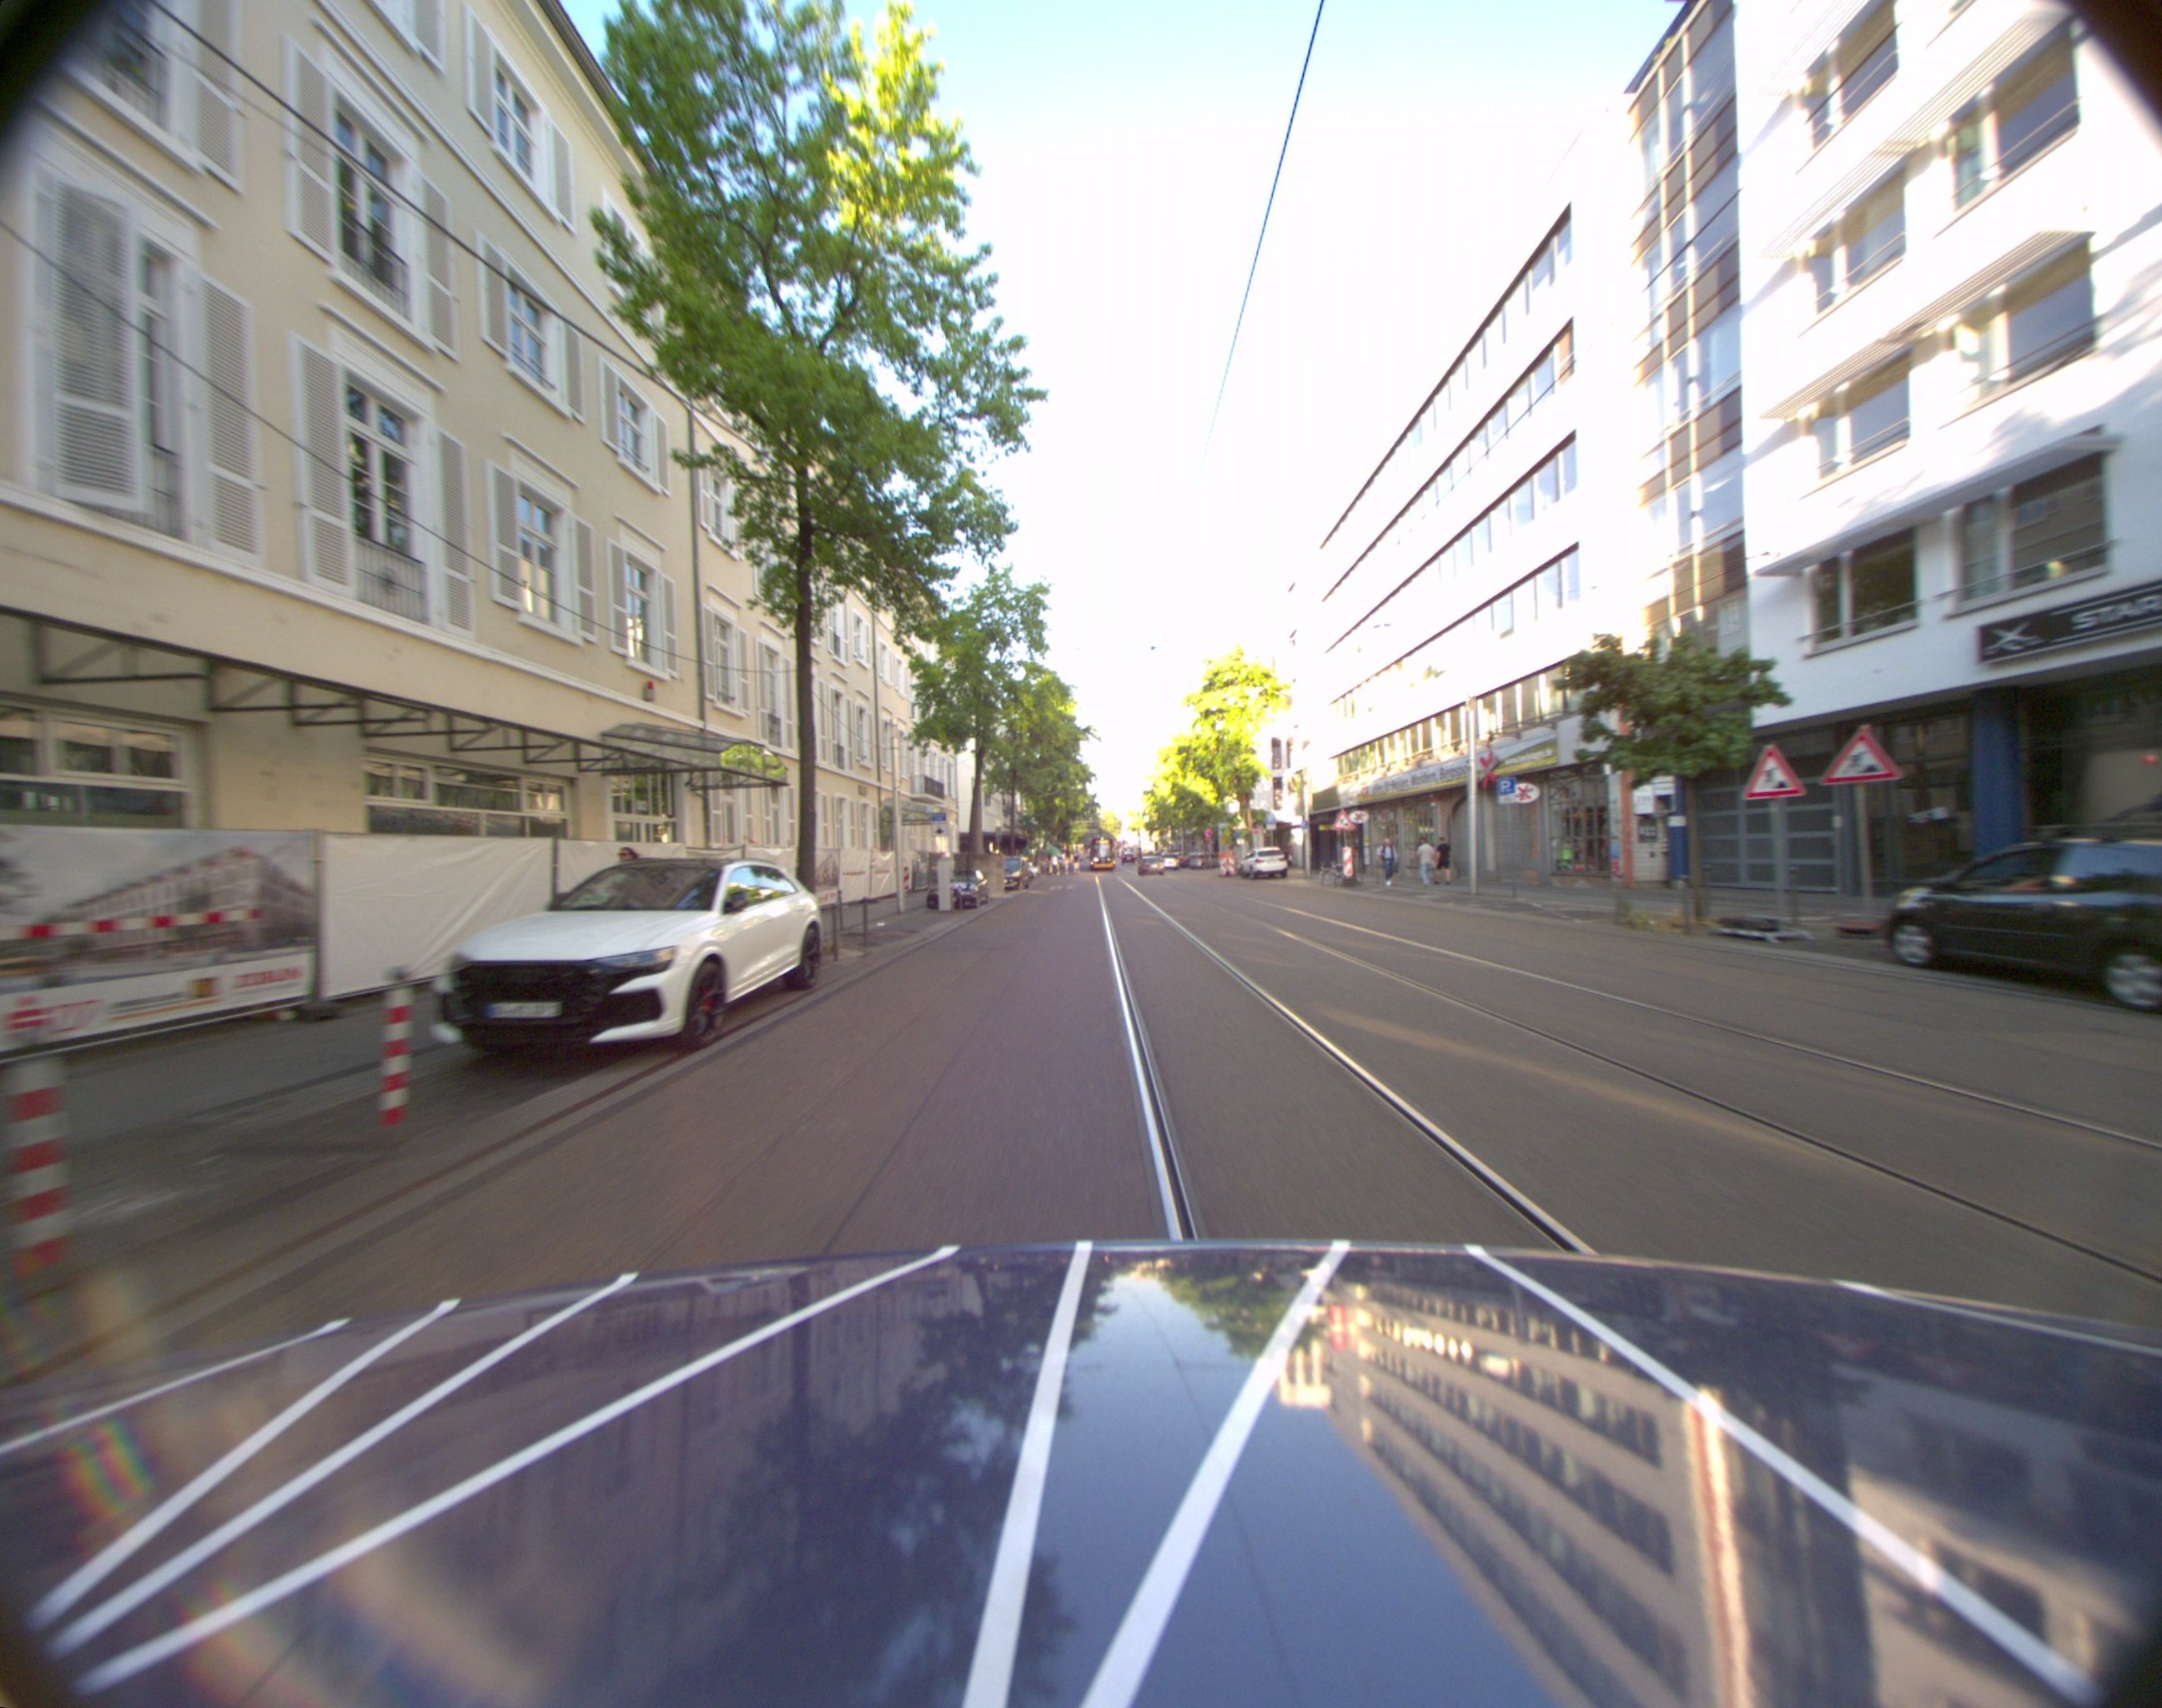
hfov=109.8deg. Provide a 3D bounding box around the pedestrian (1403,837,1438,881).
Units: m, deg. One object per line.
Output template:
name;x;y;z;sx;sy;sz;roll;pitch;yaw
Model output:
pedestrian;13.695;0.209;30.690;0.834;1.685;1.038;-5;0;1

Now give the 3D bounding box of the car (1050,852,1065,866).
car;-3.161;0.640;102.270;2.003;1.831;4.966;0;1;-2

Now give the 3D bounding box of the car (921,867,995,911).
car;-4.237;1.172;26.803;1.798;1.304;4.329;0;0;1

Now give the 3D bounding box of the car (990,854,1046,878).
car;-4.812;0.919;58.366;3.937;1.599;1.867;-2;2;8

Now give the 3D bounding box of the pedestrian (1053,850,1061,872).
pedestrian;-2.116;0.628;68.086;0.598;1.922;0.873;-2;0;3

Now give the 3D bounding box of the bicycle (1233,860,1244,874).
bicycle;10.361;0.821;50.018;0.503;0.832;1.535;-4;1;7

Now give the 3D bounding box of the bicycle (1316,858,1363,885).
bicycle;10.979;0.757;32.294;1.748;0.986;0.478;-5;0;8

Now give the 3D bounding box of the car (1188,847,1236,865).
car;12.821;0.235;74.612;4.320;1.404;1.576;-5;1;-17

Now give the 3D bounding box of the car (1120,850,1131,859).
car;10.001;0.108;170.538;1.999;1.871;4.000;-2;0;0

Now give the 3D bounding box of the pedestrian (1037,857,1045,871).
pedestrian;-3.732;0.915;70.843;0.716;1.321;0.624;-2;0;2

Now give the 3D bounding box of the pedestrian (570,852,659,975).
pedestrian;-7.423;0.909;12.141;0.714;1.876;1.053;-1;1;1

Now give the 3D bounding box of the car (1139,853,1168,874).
car;5.319;0.656;56.359;1.783;1.399;4.528;-2;0;1

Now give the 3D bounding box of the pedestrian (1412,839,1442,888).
pedestrian;12.279;0.325;27.004;0.643;1.703;0.829;-3;1;5

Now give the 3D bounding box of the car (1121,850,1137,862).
car;7.115;0.304;112.585;2.039;1.677;4.200;-2;0;1

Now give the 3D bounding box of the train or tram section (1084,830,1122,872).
train or tram section;2.317;-0.243;82.076;3.607;3.974;15.716;-2;0;1

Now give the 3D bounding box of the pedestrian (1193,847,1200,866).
pedestrian;11.622;0.241;76.483;0.656;1.922;0.723;-2;0;3

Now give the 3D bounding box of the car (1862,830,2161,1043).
car;9.707;0.629;7.117;1.632;1.606;3.712;-4;0;16

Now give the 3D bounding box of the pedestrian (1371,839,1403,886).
pedestrian;11.751;0.307;29.187;0.853;1.756;0.832;-2;0;-2

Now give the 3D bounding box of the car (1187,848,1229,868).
car;11.989;0.390;71.506;3.404;1.551;1.786;-5;2;-27

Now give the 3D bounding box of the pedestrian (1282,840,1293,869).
pedestrian;14.754;0.026;54.302;0.616;2.002;0.592;-2;0;0

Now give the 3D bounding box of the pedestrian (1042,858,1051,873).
pedestrian;-3.181;1.052;69.684;0.716;1.321;0.624;-2;0;2

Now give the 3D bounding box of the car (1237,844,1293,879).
car;10.452;0.412;43.624;1.998;1.744;4.744;-4;0;0

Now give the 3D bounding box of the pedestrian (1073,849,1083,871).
pedestrian;-0.293;0.570;67.679;0.772;1.922;0.873;-2;0;3

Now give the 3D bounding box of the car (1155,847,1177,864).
car;9.327;0.170;83.721;2.039;1.796;4.200;-1;0;1

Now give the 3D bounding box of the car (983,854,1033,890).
car;-3.825;0.898;40.363;1.956;1.782;4.317;0;0;4

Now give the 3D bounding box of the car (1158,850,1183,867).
car;8.452;0.436;71.811;1.889;1.602;4.200;0;0;1

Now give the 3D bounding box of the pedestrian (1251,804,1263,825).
pedestrian;14.230;-3.182;61.440;0.725;1.636;0.612;-2;0;3

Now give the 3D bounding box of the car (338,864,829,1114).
car;-4.388;1.002;7.956;2.003;1.678;4.966;0;1;-2

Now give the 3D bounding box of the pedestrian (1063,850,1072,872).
pedestrian;-1.208;0.600;68.204;0.672;1.922;0.873;-2;0;3

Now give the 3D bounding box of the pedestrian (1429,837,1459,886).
pedestrian;12.994;0.273;27.223;0.628;1.703;0.808;-3;1;5
